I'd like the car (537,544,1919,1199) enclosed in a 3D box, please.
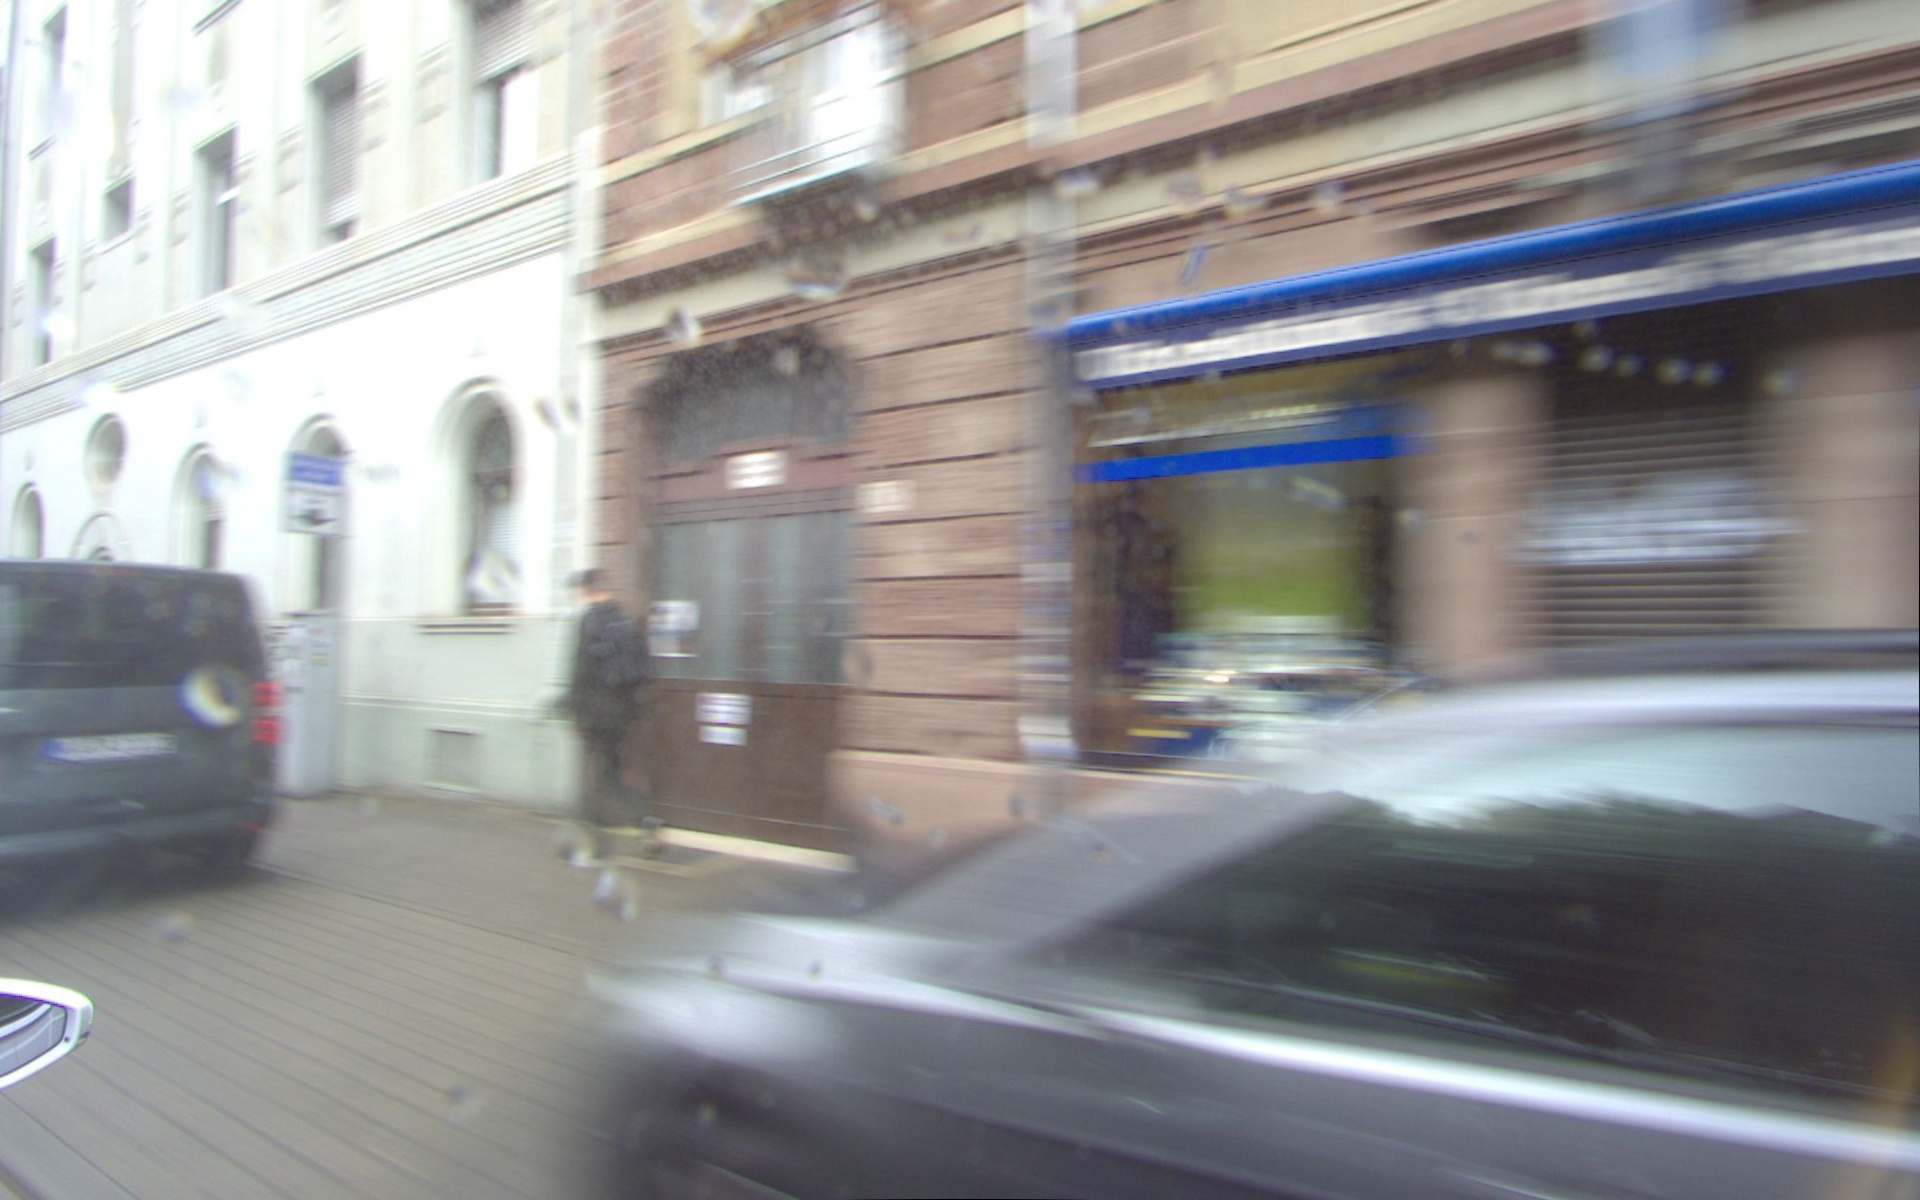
[{"bbox_3d":[1.448,0.776,1.414,3.945,1.565,1.839,-1,-3,32],"label":"car"}]

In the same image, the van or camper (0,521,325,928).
[{"bbox_3d":[-6.406,0.632,6.404,4.982,1.915,2.018,-1,-2,32],"label":"van or camper"}]

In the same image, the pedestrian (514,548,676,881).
[{"bbox_3d":[-2.342,0.695,6.425,0.801,1.959,0.675,-1,-2,43],"label":"pedestrian"}]
